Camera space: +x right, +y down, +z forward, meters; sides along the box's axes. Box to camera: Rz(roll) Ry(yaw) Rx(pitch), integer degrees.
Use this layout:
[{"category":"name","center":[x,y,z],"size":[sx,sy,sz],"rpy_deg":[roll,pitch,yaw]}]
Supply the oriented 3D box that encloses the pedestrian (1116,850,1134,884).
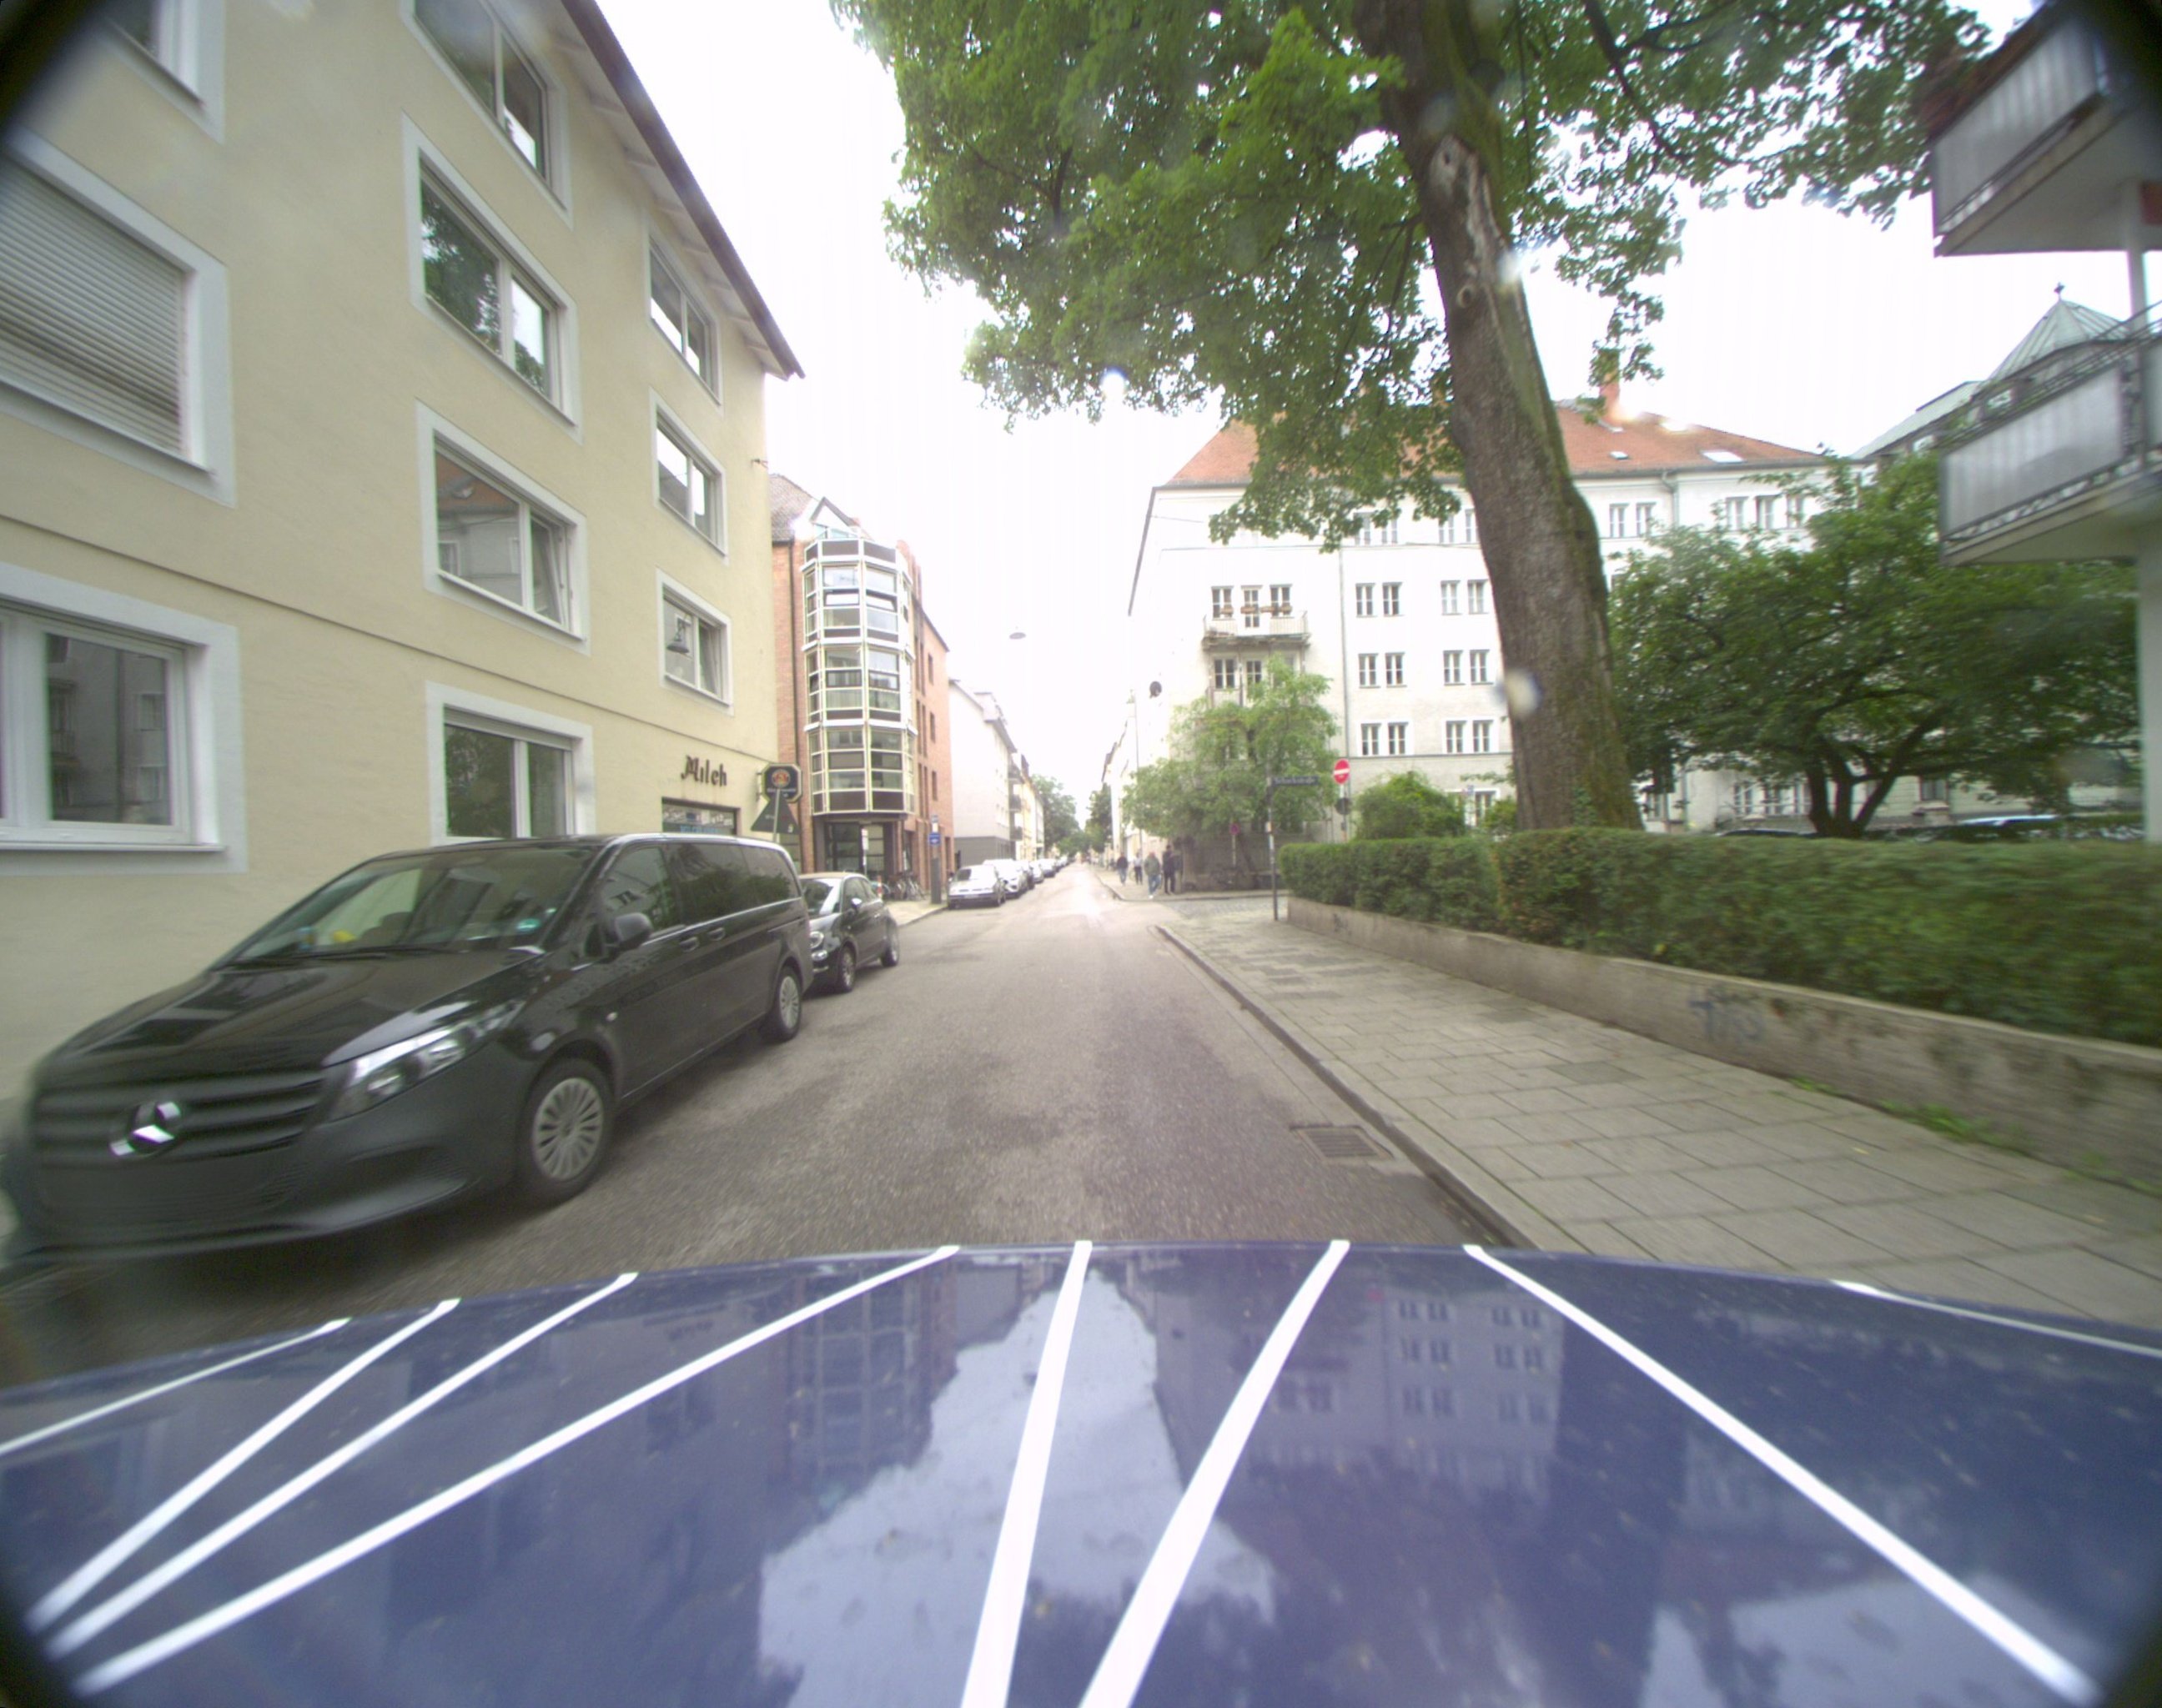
[{"category":"pedestrian","center":[2.306,0.673,39.592],"size":[0.722,1.718,0.841],"rpy_deg":[-6,0,0]}]

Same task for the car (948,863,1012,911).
[{"category":"car","center":[-3.458,1.093,26.752],"size":[1.725,1.426,4.358],"rpy_deg":[-3,0,-2]}]

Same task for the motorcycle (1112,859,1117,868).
[{"category":"motorcycle","center":[3.479,0.969,78.848],"size":[0.324,0.968,1.961],"rpy_deg":[-3,0,0]}]

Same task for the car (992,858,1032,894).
[{"category":"car","center":[-3.291,1.018,36.751],"size":[1.619,1.548,3.807],"rpy_deg":[-3,0,-2]}]

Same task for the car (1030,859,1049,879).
[{"category":"car","center":[-3.104,1.128,57.205],"size":[1.154,1.367,2.685],"rpy_deg":[-3,0,0]}]

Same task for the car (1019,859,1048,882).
[{"category":"car","center":[-3.211,1.109,51.901],"size":[1.619,1.368,3.817],"rpy_deg":[-3,0,0]}]

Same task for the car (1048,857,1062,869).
[{"category":"car","center":[-3.114,1.102,91.827],"size":[1.525,1.259,3.210],"rpy_deg":[-3,0,0]}]

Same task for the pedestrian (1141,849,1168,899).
[{"category":"pedestrian","center":[2.536,0.692,26.385],"size":[0.691,1.668,0.859],"rpy_deg":[-5,1,-2]}]

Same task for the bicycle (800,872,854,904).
[{"category":"bicycle","center":[-8.925,1.207,26.700],"size":[1.752,1.066,0.443],"rpy_deg":[-2,0,6]}]

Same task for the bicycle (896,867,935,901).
[{"category":"bicycle","center":[-6.457,1.167,29.760],"size":[0.741,1.210,1.782],"rpy_deg":[-1,1,14]}]

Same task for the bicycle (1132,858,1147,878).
[{"category":"bicycle","center":[3.524,0.837,45.820],"size":[0.450,1.187,1.498],"rpy_deg":[-3,0,-9]}]

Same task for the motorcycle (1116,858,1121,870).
[{"category":"motorcycle","center":[3.436,0.906,69.252],"size":[0.324,0.968,1.961],"rpy_deg":[-3,0,0]}]

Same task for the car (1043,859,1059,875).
[{"category":"car","center":[-2.630,1.134,66.265],"size":[1.190,1.312,2.779],"rpy_deg":[-3,0,0]}]

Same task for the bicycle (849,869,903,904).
[{"category":"bicycle","center":[-7.143,1.130,26.485],"size":[1.752,1.180,0.443],"rpy_deg":[0,1,6]}]

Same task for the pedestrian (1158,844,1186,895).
[{"category":"pedestrian","center":[3.239,0.556,27.055],"size":[0.692,1.752,0.741],"rpy_deg":[-5,1,-10]}]

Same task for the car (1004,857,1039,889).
[{"category":"car","center":[-3.226,1.009,42.027],"size":[1.619,1.570,4.051],"rpy_deg":[-3,0,-2]}]

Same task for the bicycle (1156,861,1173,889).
[{"category":"bicycle","center":[3.460,0.855,31.560],"size":[0.432,1.088,1.703],"rpy_deg":[-4,0,-2]}]

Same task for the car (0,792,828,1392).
[{"category":"car","center":[-3.481,0.842,5.046],"size":[1.996,1.965,4.884],"rpy_deg":[-4,0,-2]}]

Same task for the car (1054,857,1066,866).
[{"category":"car","center":[-3.067,1.124,113.020],"size":[1.557,1.280,3.538],"rpy_deg":[-3,0,0]}]

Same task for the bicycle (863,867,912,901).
[{"category":"bicycle","center":[-7.288,1.107,28.594],"size":[1.872,1.222,0.594],"rpy_deg":[-1,2,29]}]

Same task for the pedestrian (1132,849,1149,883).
[{"category":"pedestrian","center":[3.093,0.618,39.605],"size":[0.695,1.718,0.841],"rpy_deg":[-6,0,0]}]

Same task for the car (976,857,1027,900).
[{"category":"car","center":[-3.300,0.972,32.321],"size":[1.725,1.606,4.454],"rpy_deg":[-3,0,-2]}]

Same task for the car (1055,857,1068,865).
[{"category":"car","center":[-3.290,1.145,130.512],"size":[1.998,1.259,4.000],"rpy_deg":[-3,0,0]}]

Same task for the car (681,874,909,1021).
[{"category":"car","center":[-3.626,1.104,10.336],"size":[1.638,1.462,3.538],"rpy_deg":[-4,0,0]}]

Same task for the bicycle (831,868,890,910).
[{"category":"bicycle","center":[-7.464,1.162,25.773],"size":[1.807,1.315,0.586],"rpy_deg":[-2,2,-25]}]

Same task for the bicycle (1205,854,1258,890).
[{"category":"bicycle","center":[5.457,0.652,27.639],"size":[1.811,1.253,0.432],"rpy_deg":[-2,1,-1]}]
